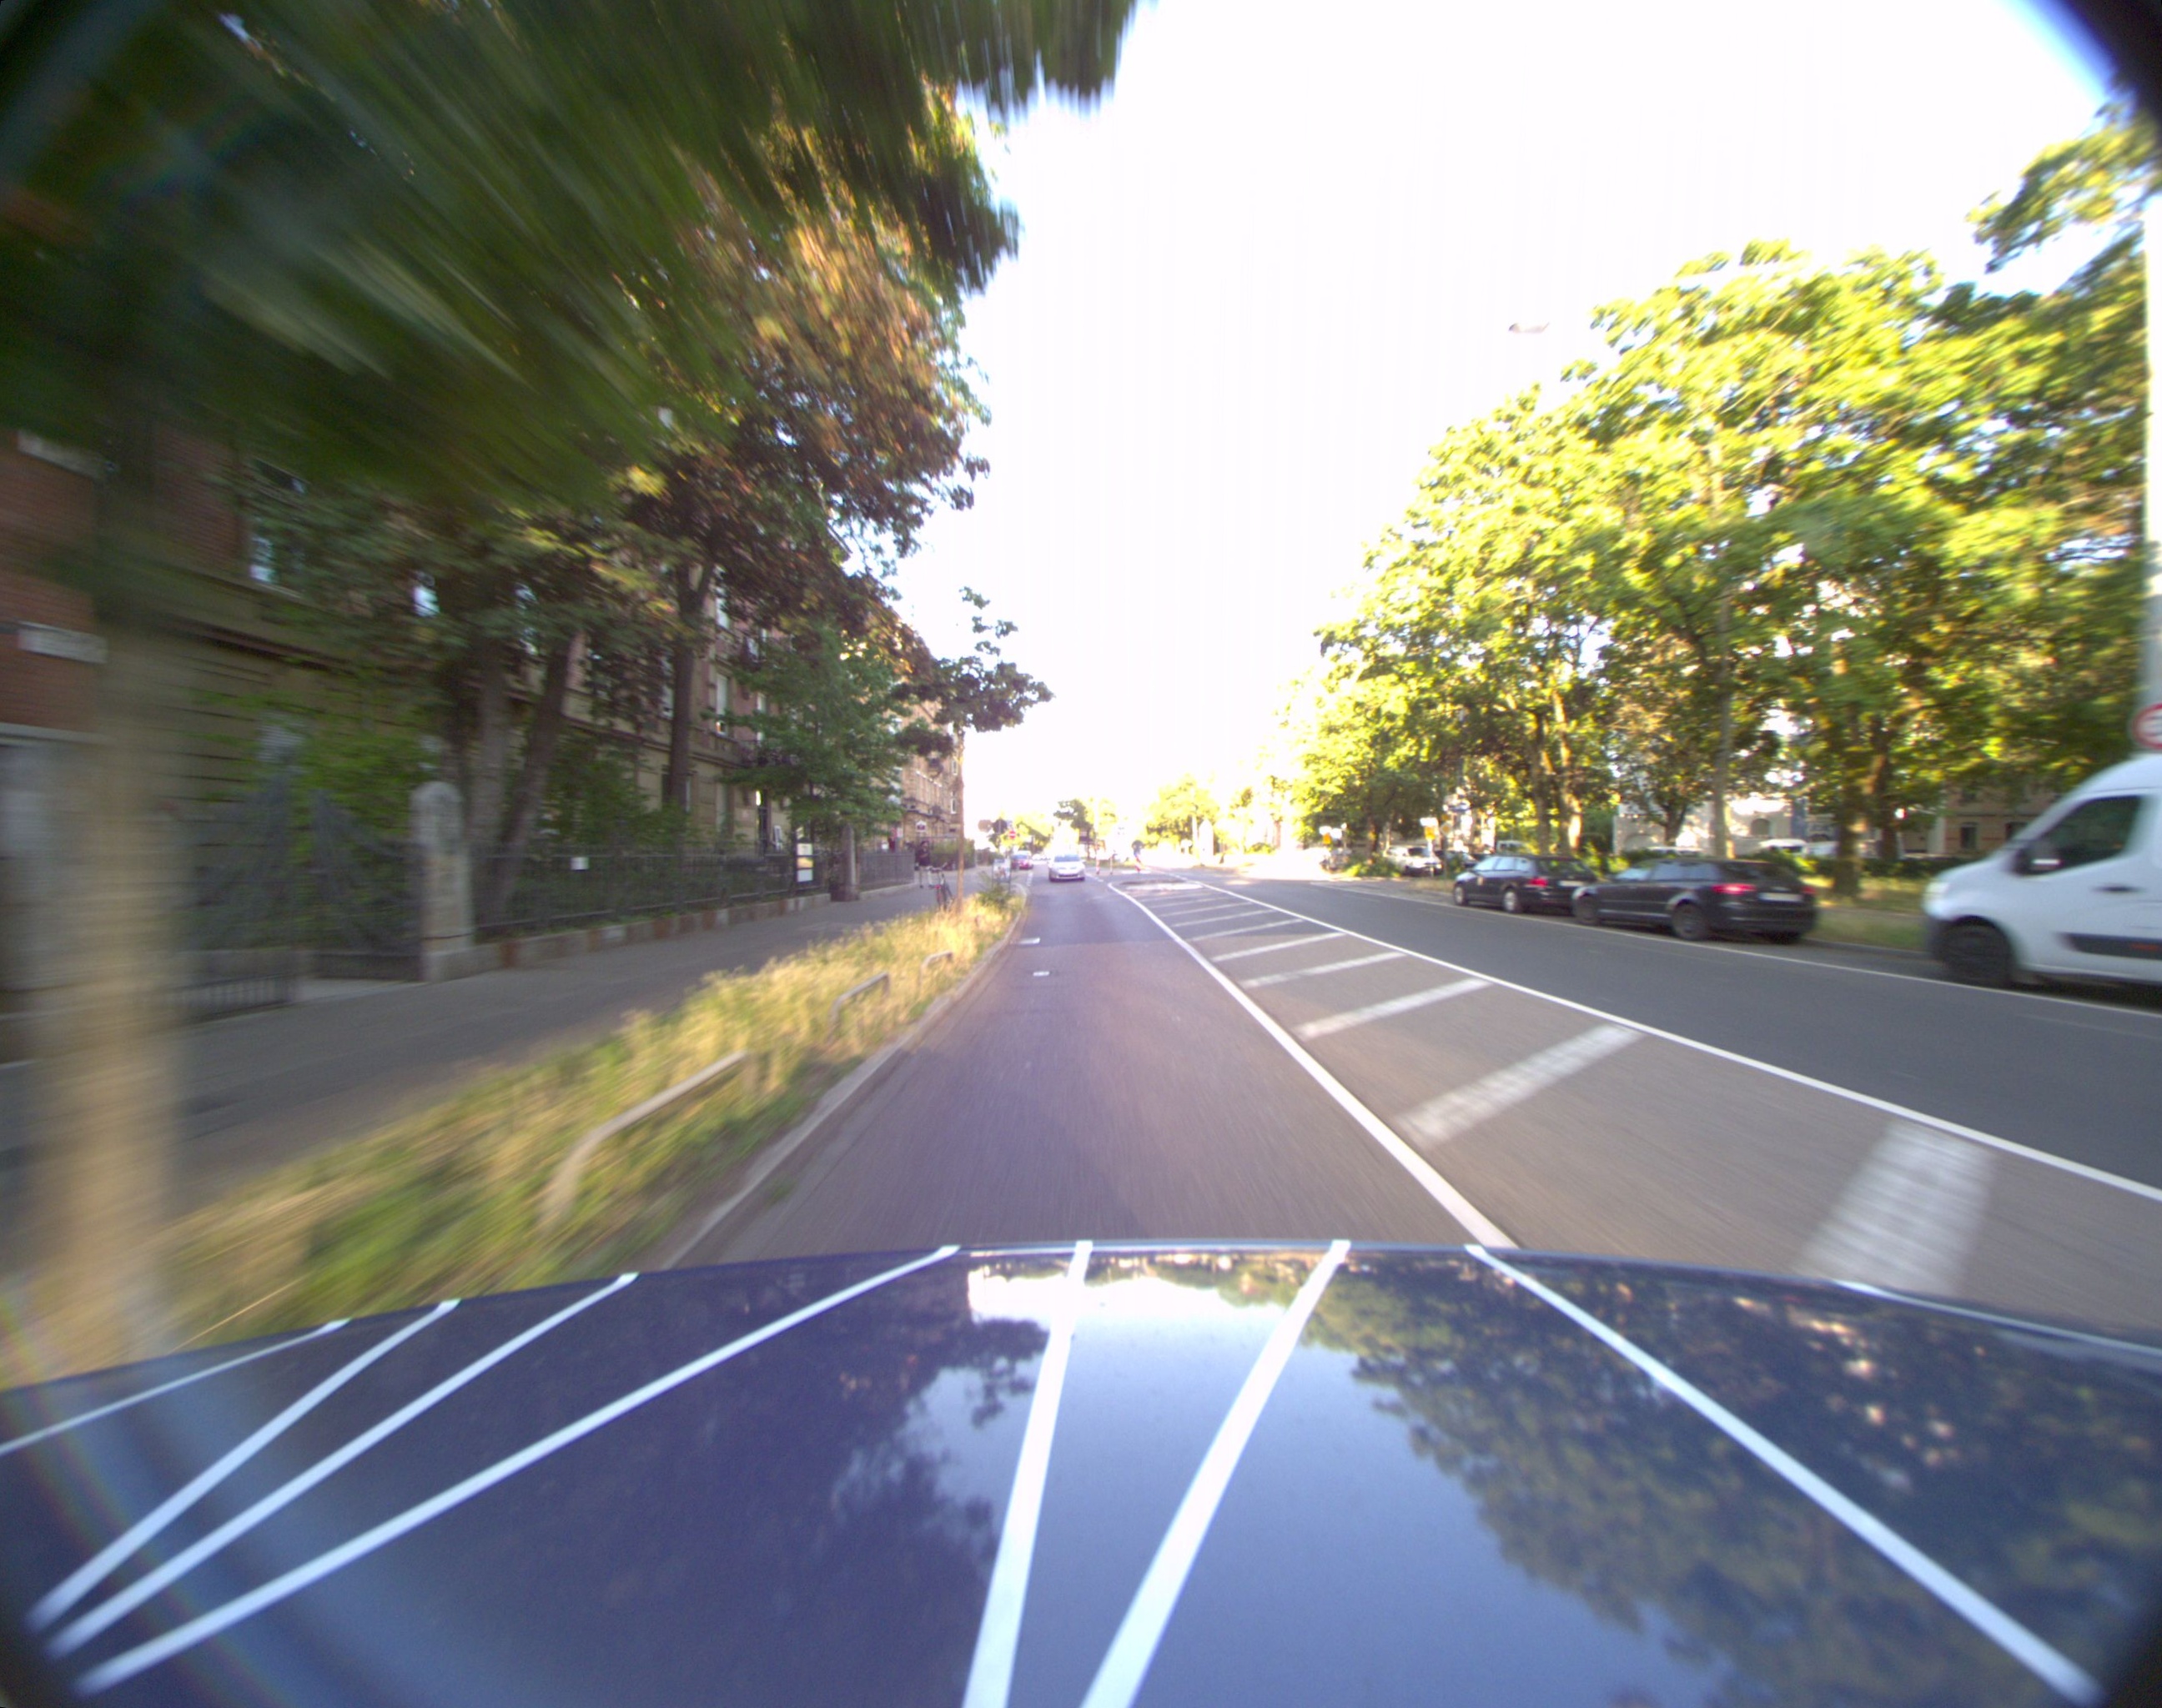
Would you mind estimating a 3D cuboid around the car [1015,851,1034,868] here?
[{"bbox_3d":[-5.306,0.485,71.240,1.682,1.418,3.675,4,0,-5],"label":"car"}]

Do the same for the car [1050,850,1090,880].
[{"bbox_3d":[-0.623,0.563,40.052,1.896,1.455,3.964,1,0,-4],"label":"car"}]

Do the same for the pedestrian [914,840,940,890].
[{"bbox_3d":[-5.712,0.407,28.214,0.747,1.768,0.831,3,1,-3],"label":"pedestrian"}]

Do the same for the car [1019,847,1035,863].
[{"bbox_3d":[-7.296,0.117,103.702,1.892,1.907,5.178,4,0,-2],"label":"car"}]

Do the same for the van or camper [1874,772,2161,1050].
[{"bbox_3d":[10.599,0.524,5.978,2.096,2.454,6.305,1,0,1],"label":"van or camper"}]

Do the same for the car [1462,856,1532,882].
[{"bbox_3d":[25.712,0.891,47.134,1.999,1.531,3.999,-1,0,-3],"label":"car"}]

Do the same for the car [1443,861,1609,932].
[{"bbox_3d":[11.013,0.964,19.240,1.627,1.498,4.544,1,0,1],"label":"car"}]

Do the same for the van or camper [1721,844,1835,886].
[{"bbox_3d":[42.802,0.629,46.878,2.071,2.457,5.427,-1,0,0],"label":"van or camper"}]

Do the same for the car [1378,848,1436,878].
[{"bbox_3d":[20.568,0.546,48.115,1.823,1.784,3.999,-1,0,-3],"label":"car"}]

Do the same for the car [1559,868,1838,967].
[{"bbox_3d":[10.888,1.019,13.883,1.632,1.421,4.242,1,0,0],"label":"car"}]

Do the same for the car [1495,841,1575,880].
[{"bbox_3d":[28.142,0.360,47.364,2.220,2.275,5.099,-1,0,4],"label":"car"}]

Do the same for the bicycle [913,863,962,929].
[{"bbox_3d":[-2.775,0.783,14.896,0.648,1.160,1.930,-2,0,-3],"label":"bicycle"}]

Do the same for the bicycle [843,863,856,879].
[{"bbox_3d":[-12.829,0.953,42.083,0.292,0.812,1.498,-2,-3,-2],"label":"bicycle"}]

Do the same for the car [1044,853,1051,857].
[{"bbox_3d":[-10.209,0.311,230.688,1.948,1.258,4.161,1,0,-5],"label":"car"}]

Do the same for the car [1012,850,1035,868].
[{"bbox_3d":[-5.011,0.452,66.713,1.731,1.456,3.546,4,0,-2],"label":"car"}]

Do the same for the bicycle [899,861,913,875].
[{"bbox_3d":[-11.533,0.895,50.124,0.295,0.812,1.735,-1,2,6],"label":"bicycle"}]

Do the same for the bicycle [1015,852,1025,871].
[{"bbox_3d":[-4.562,0.536,56.921,0.567,1.292,2.263,4,2,-3],"label":"bicycle"}]

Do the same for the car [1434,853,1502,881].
[{"bbox_3d":[23.644,0.769,46.638,1.999,1.652,3.999,-1,0,-3],"label":"car"}]

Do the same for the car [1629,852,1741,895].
[{"bbox_3d":[28.695,0.890,36.279,1.999,1.871,3.999,-2,0,-3],"label":"car"}]

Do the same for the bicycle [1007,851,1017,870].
[{"bbox_3d":[-5.137,0.461,56.879,0.567,1.268,2.263,4,2,-3],"label":"bicycle"}]
